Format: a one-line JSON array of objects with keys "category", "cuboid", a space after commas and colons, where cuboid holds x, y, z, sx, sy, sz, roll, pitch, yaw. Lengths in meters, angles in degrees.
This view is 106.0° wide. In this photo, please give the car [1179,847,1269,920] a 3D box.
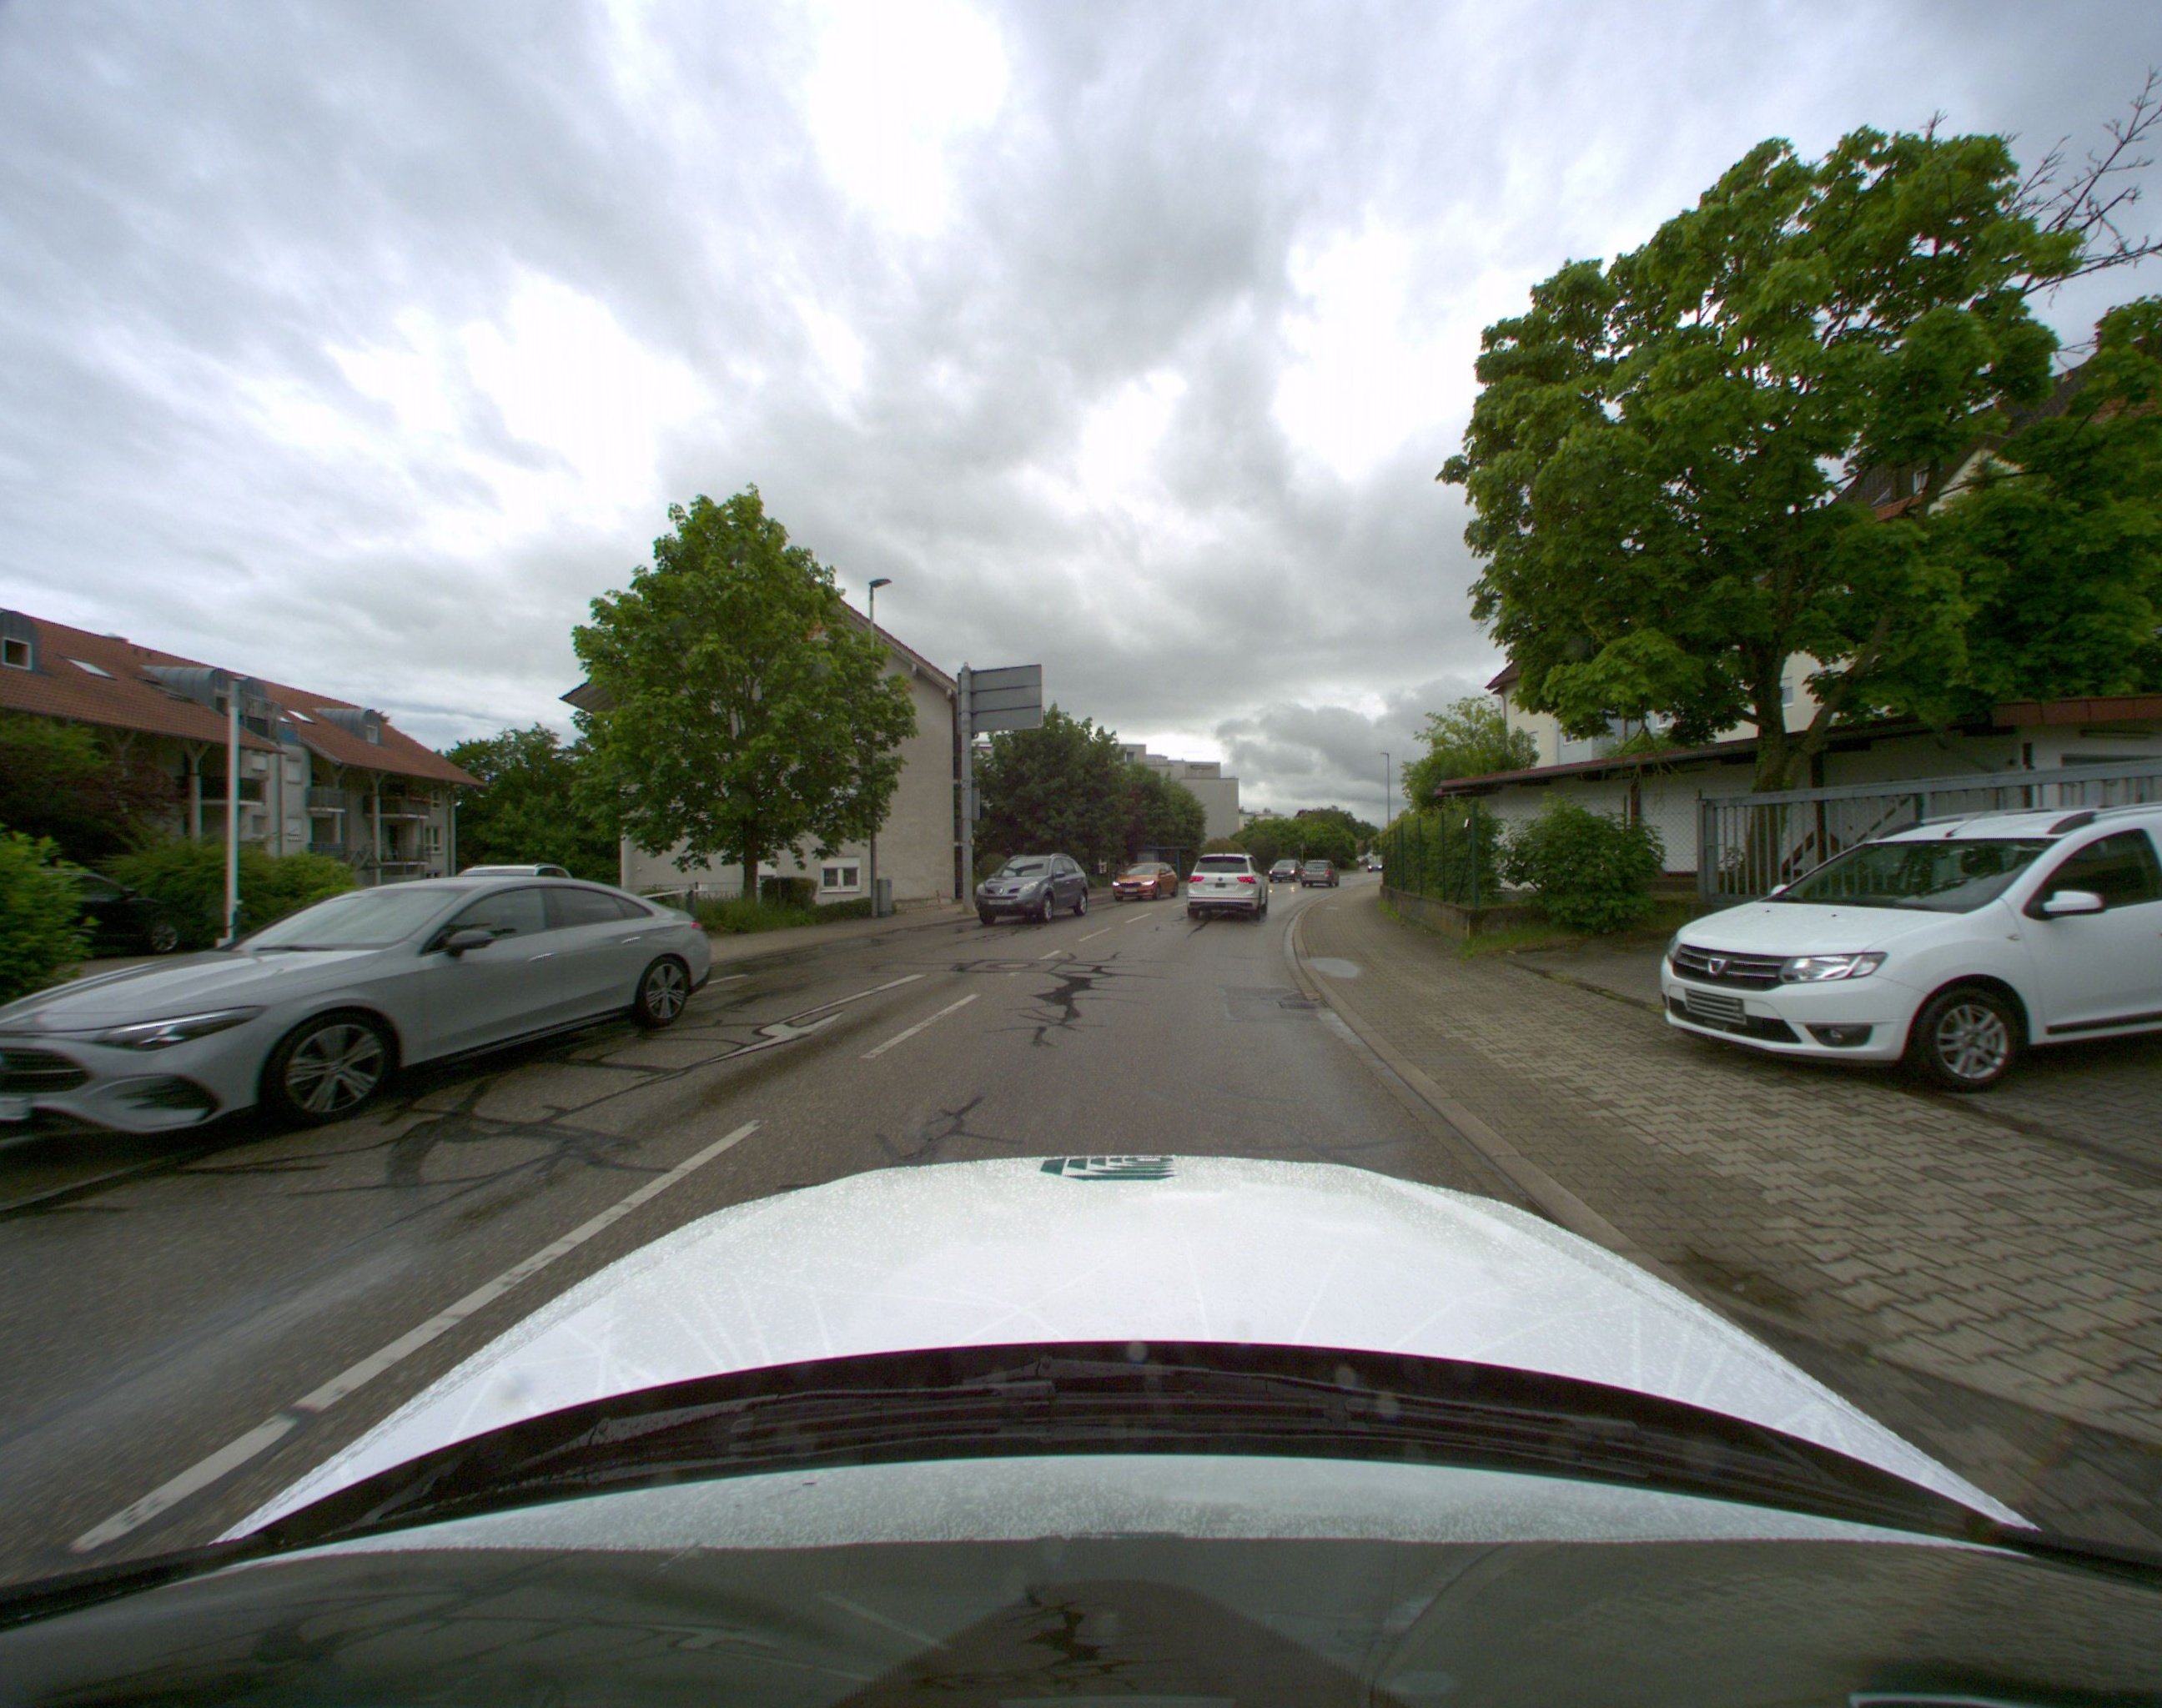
[{"category": "car", "cuboid": [3.911, 0.719, 21.717, 1.906, 1.722, 4.283, 1, 0, 16]}]

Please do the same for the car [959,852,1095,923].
[{"category": "car", "cuboid": [-1.267, 0.791, 21.288, 1.885, 1.657, 4.288, -1, -1, 21]}]

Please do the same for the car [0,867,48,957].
[{"category": "car", "cuboid": [-20.787, 1.007, 13.678, 1.993, 1.651, 3.986, 0, -3, -9]}]

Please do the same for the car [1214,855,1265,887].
[{"category": "car", "cuboid": [8.552, 0.906, 43.765, 1.885, 1.657, 4.137, -1, -1, 22]}]

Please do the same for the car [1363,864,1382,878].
[{"category": "car", "cuboid": [35.980, 2.096, 100.424, 1.885, 1.657, 4.137, -1, -1, 23]}]

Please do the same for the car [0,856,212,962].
[{"category": "car", "cuboid": [-18.112, 0.929, 14.133, 1.992, 1.651, 3.987, 0, -3, -8]}]

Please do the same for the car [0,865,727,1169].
[{"category": "car", "cuboid": [-5.024, 0.828, 6.361, 1.889, 1.391, 4.503, 0, 0, 11]}]

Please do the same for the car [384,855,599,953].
[{"category": "car", "cuboid": [-11.216, 0.947, 15.900, 1.996, 1.651, 3.980, 1, -3, -14]}]

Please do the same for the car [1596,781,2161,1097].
[{"category": "car", "cuboid": [6.286, 0.405, 5.628, 4.331, 1.596, 1.764, -5, 0, -4]}]

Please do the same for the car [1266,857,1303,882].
[{"category": "car", "cuboid": [13.800, 1.022, 55.067, 1.885, 1.590, 4.137, -1, -1, 22]}]

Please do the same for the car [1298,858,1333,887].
[{"category": "car", "cuboid": [12.990, 1.065, 45.112, 1.751, 1.510, 4.016, -1, -3, 16]}]

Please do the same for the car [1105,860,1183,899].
[{"category": "car", "cuboid": [2.579, 0.967, 32.433, 1.885, 1.439, 4.137, -1, -1, 22]}]
